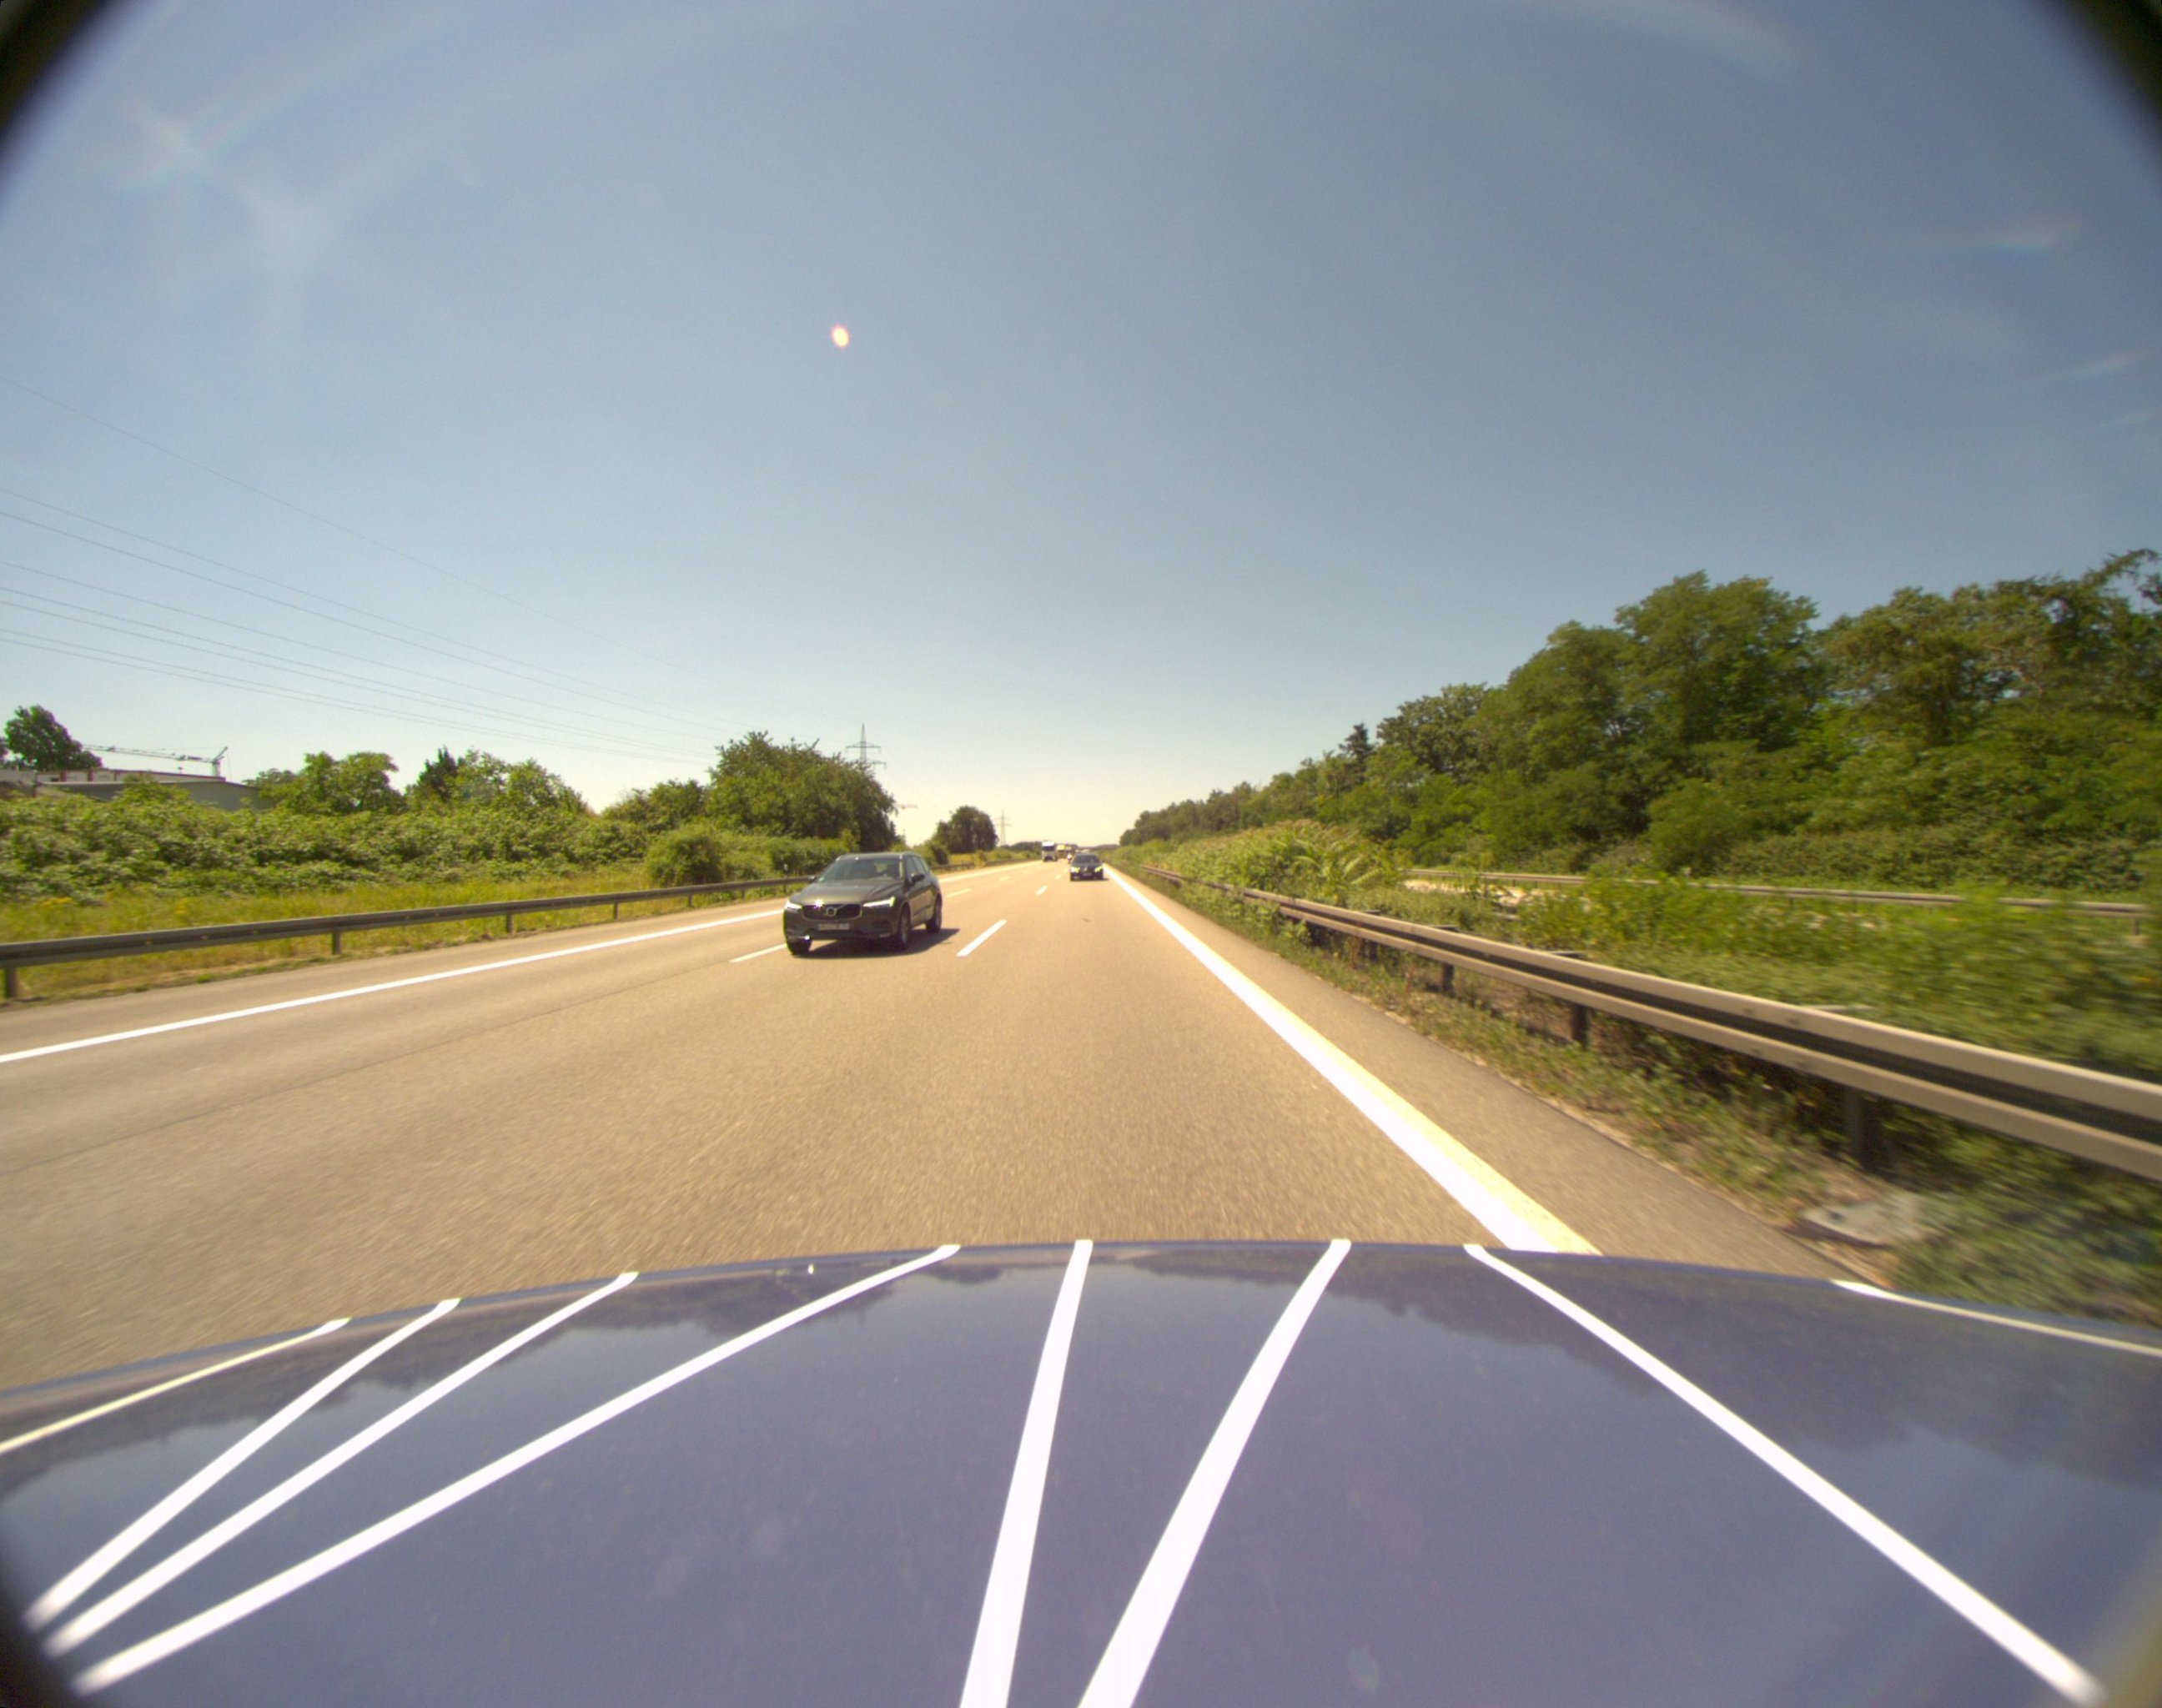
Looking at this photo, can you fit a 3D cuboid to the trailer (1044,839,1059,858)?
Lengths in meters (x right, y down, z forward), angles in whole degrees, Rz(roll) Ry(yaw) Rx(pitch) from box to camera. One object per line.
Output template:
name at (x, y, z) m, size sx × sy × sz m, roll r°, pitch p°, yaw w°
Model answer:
trailer at (-6.072, -1.171, 158.662) m, size 2.573 × 3.871 × 13.278 m, roll -2°, pitch 1°, yaw 0°

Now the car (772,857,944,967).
car at (-3.809, 0.903, 13.770) m, size 1.878 × 1.614 × 4.003 m, roll -2°, pitch 0°, yaw 0°

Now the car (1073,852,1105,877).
car at (0.446, 0.590, 46.142) m, size 1.808 × 1.385 × 3.999 m, roll -2°, pitch 1°, yaw 0°

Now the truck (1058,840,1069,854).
truck at (-5.090, -2.066, 225.418) m, size 2.978 × 4.240 × 12.609 m, roll 0°, pitch 1°, yaw 0°

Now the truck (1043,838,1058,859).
truck at (-6.062, -1.119, 152.137) m, size 2.573 × 3.871 × 5.722 m, roll -2°, pitch 1°, yaw 0°
